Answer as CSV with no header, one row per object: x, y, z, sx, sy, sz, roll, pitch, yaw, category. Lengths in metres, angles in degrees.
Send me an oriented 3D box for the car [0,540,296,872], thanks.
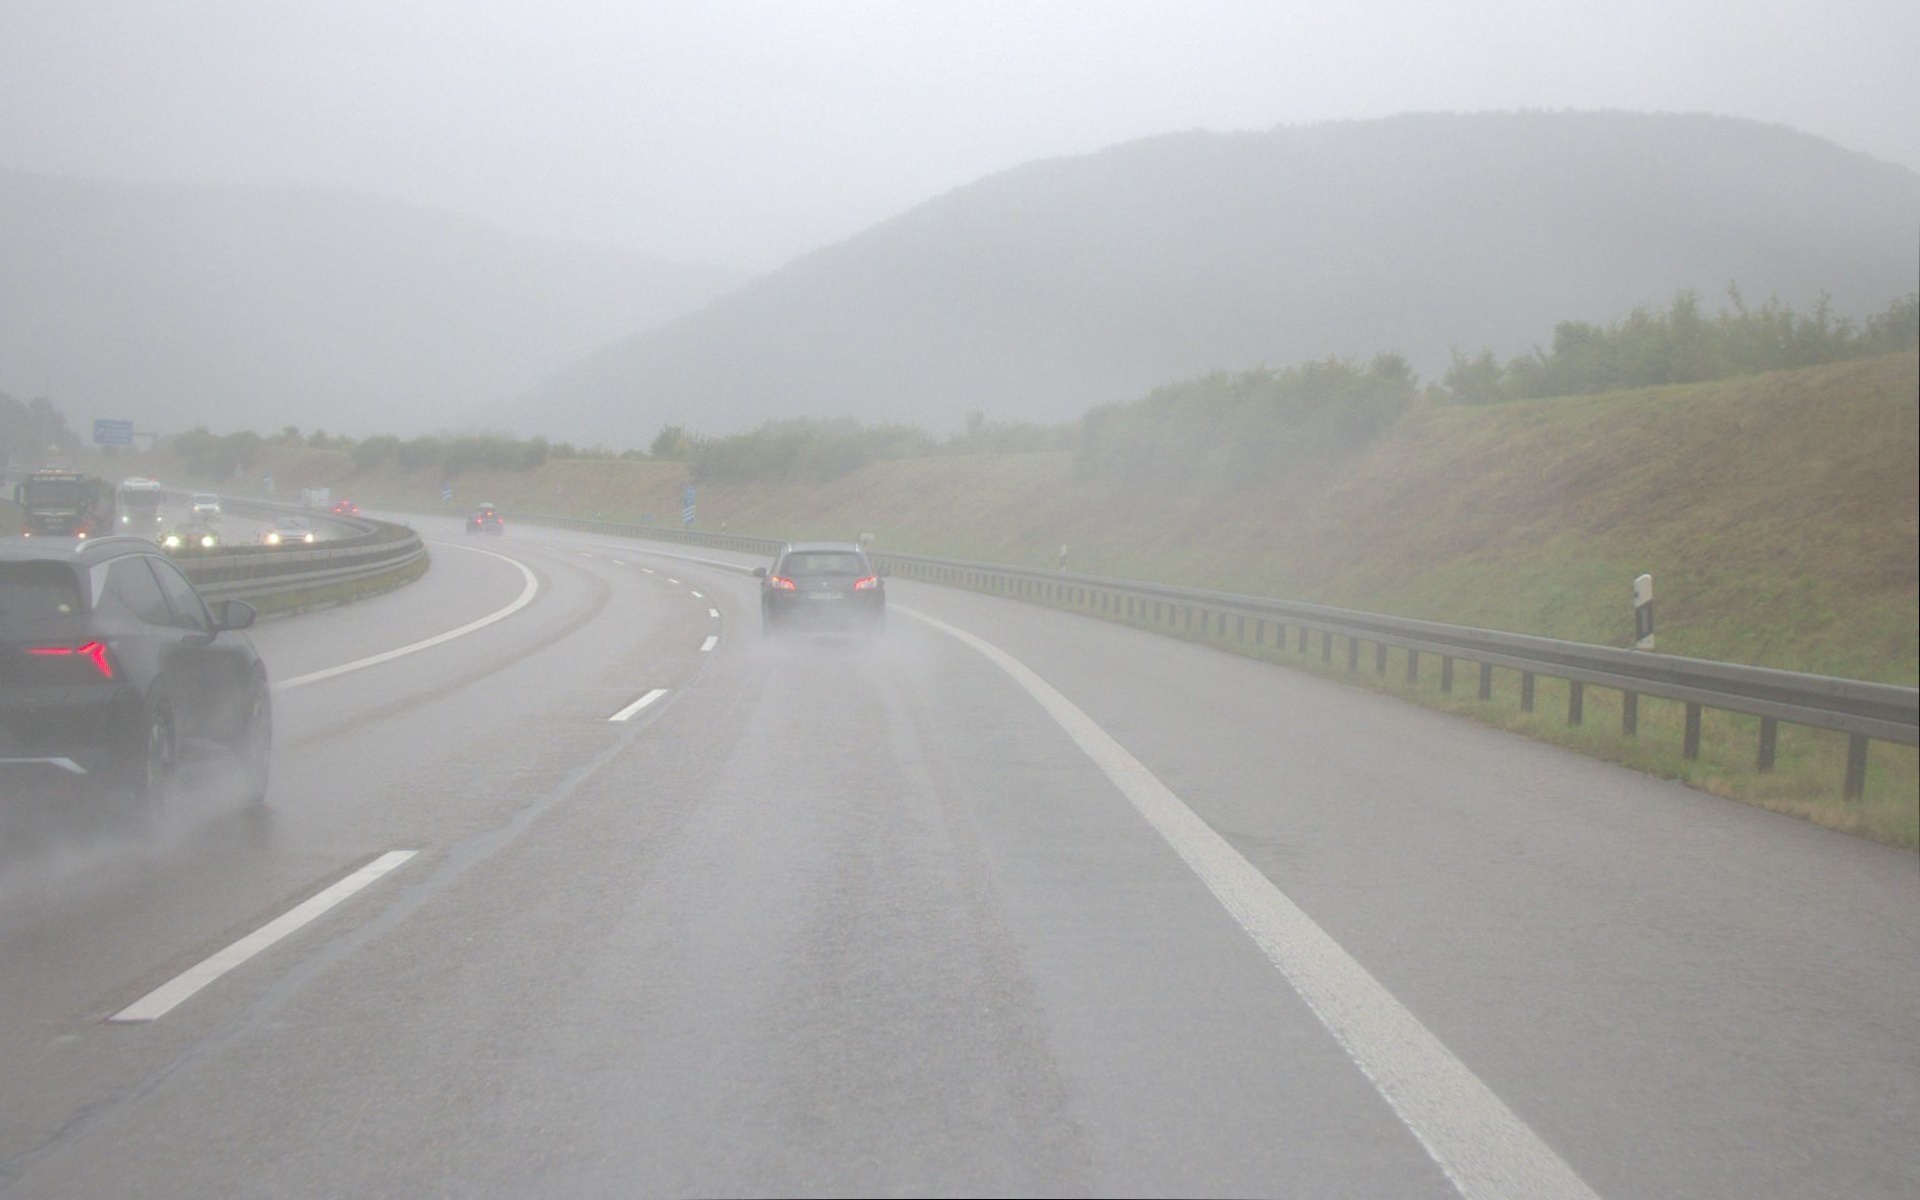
-4.933,0.448,18.308,2.405,1.510,4.785,2,1,-7,car

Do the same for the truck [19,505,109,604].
-32.698,-1.683,125.561,2.715,3.530,5.312,0,1,-10,truck

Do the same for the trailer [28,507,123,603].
-33.563,-1.759,130.705,2.719,3.479,9.398,0,1,-10,trailer

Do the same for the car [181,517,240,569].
-29.853,-2.280,137.031,1.913,2.007,4.001,1,1,-7,car

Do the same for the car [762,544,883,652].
-2.035,-0.055,50.722,1.679,1.467,3.815,2,1,-2,car
